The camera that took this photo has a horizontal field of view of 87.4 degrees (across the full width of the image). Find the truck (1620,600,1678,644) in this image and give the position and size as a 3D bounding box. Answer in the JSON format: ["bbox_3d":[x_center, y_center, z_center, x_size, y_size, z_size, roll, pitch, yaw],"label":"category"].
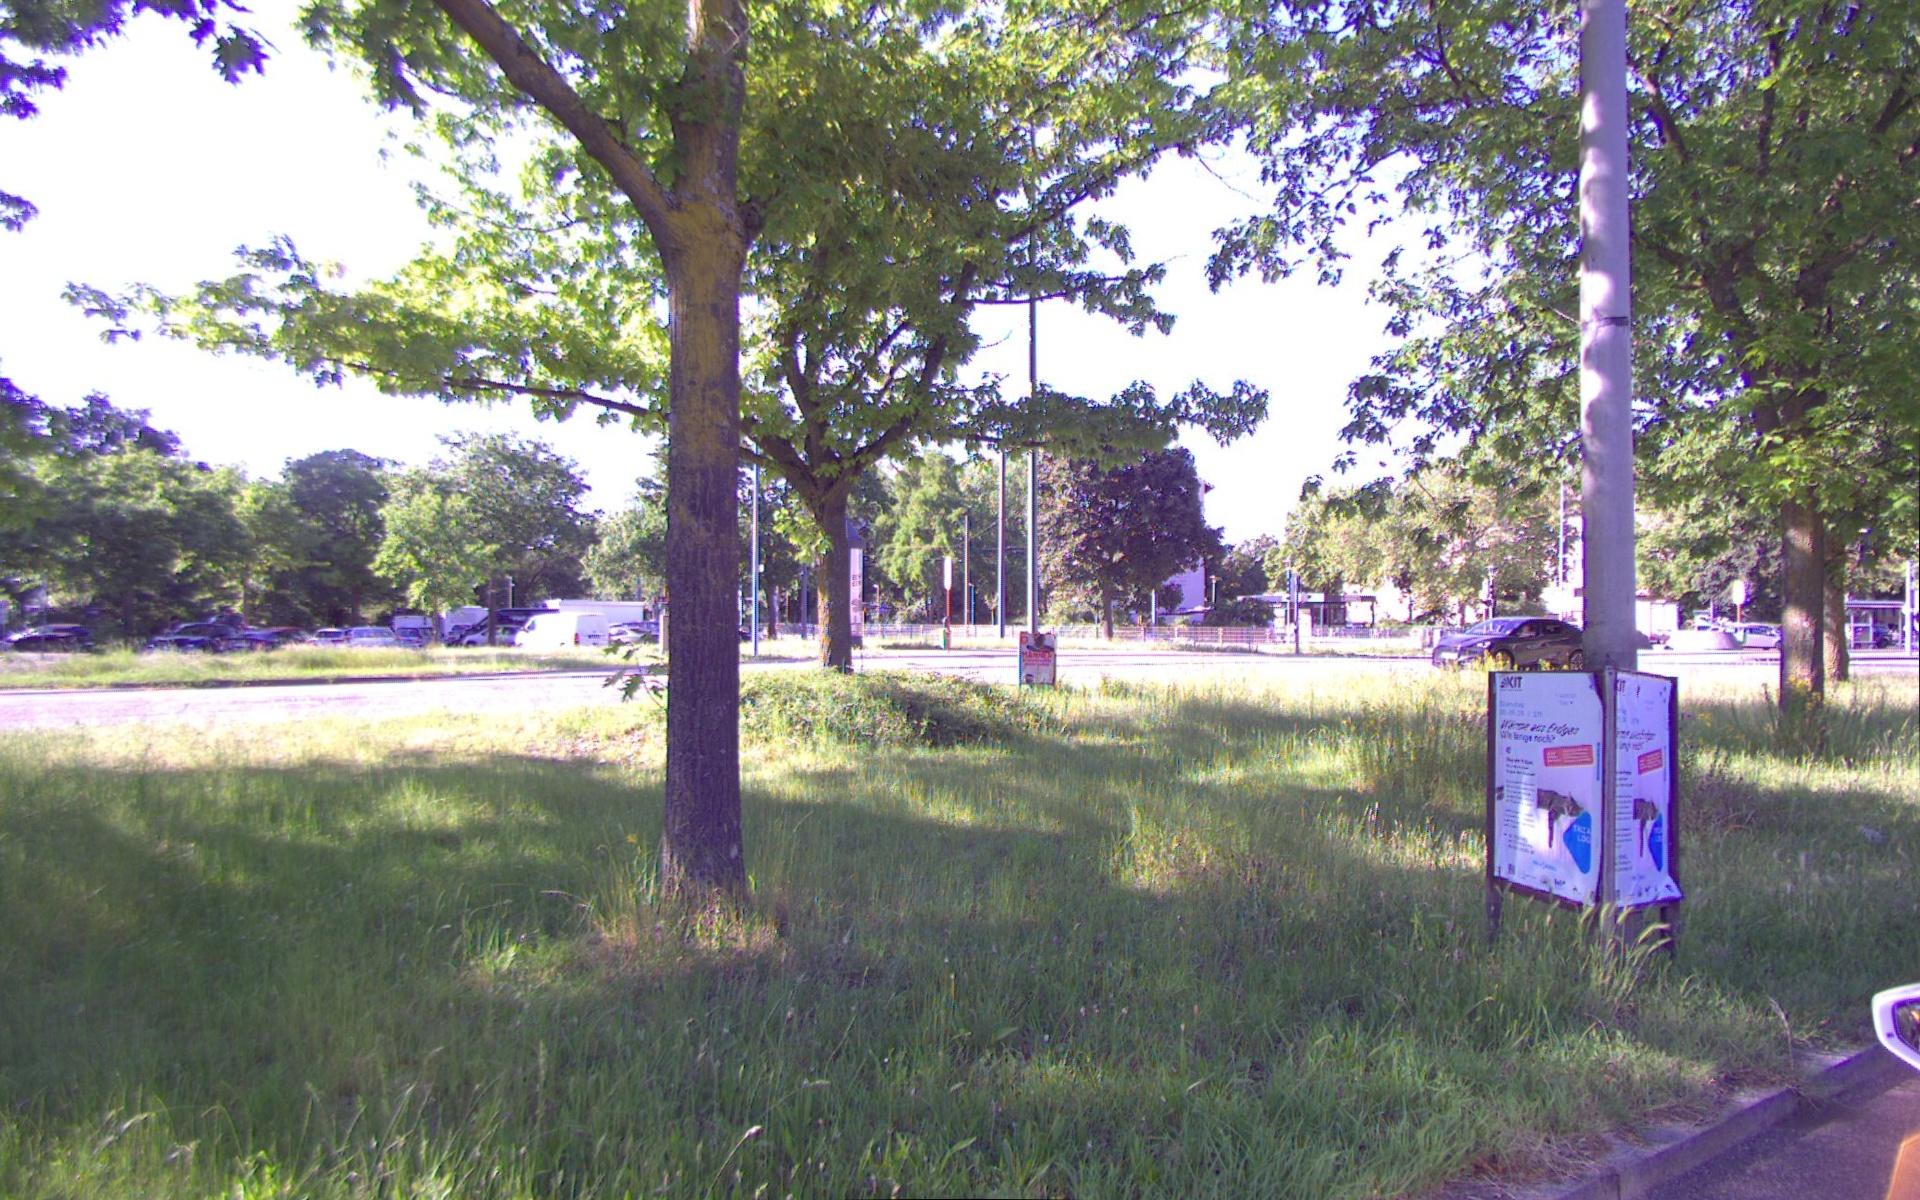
[{"bbox_3d":[46.637,1.472,68.089,1.960,2.842,4.002,0,-1,15],"label":"truck"}]

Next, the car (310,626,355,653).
[{"bbox_3d":[-29.297,1.823,46.861,1.603,1.194,3.047,1,-1,-35],"label":"car"}]

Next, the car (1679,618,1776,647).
[{"bbox_3d":[46.904,1.958,61.464,4.233,1.706,2.001,0,-1,9],"label":"car"}]

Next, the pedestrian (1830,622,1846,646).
[{"bbox_3d":[51.775,1.977,59.229,0.614,1.409,0.416,0,-1,-3],"label":"pedestrian"}]

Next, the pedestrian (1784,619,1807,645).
[{"bbox_3d":[53.725,2.056,64.611,0.781,1.629,0.923,0,-1,9],"label":"pedestrian"}]

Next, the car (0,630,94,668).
[{"bbox_3d":[-47.662,2.495,51.899,1.966,1.817,3.990,0,-1,32],"label":"car"}]

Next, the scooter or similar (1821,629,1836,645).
[{"bbox_3d":[51.202,2.199,59.192,0.524,0.939,0.421,0,-1,-4],"label":"scooter or similar"}]

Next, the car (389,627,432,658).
[{"bbox_3d":[-26.704,2.026,48.775,1.602,1.438,3.050,1,-1,-33],"label":"car"}]

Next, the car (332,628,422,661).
[{"bbox_3d":[-21.828,1.632,37.630,2.769,1.171,1.326,1,-1,-40],"label":"car"}]

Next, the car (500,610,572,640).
[{"bbox_3d":[-24.133,1.410,57.285,3.698,1.691,1.883,1,-1,-23],"label":"car"}]

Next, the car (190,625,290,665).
[{"bbox_3d":[-25.235,1.561,35.240,2.769,1.323,1.326,1,-1,-40],"label":"car"}]

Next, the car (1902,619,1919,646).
[{"bbox_3d":[71.859,2.388,73.356,1.910,2.040,4.155,1,-1,-31],"label":"car"}]

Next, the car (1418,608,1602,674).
[{"bbox_3d":[14.834,1.082,27.115,4.388,1.669,1.826,0,-1,-17],"label":"car"}]

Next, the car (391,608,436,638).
[{"bbox_3d":[-32.491,1.363,59.782,1.865,1.691,3.733,1,-1,-22],"label":"car"}]

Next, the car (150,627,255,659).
[{"bbox_3d":[-26.845,1.502,35.625,1.315,1.078,2.777,-1,-1,42],"label":"car"}]

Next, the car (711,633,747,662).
[{"bbox_3d":[-12.033,2.451,52.484,1.589,1.438,3.073,0,-1,-8],"label":"car"}]

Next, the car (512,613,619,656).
[{"bbox_3d":[-17.221,1.472,43.797,4.670,1.762,2.024,0,-1,34],"label":"car"}]
